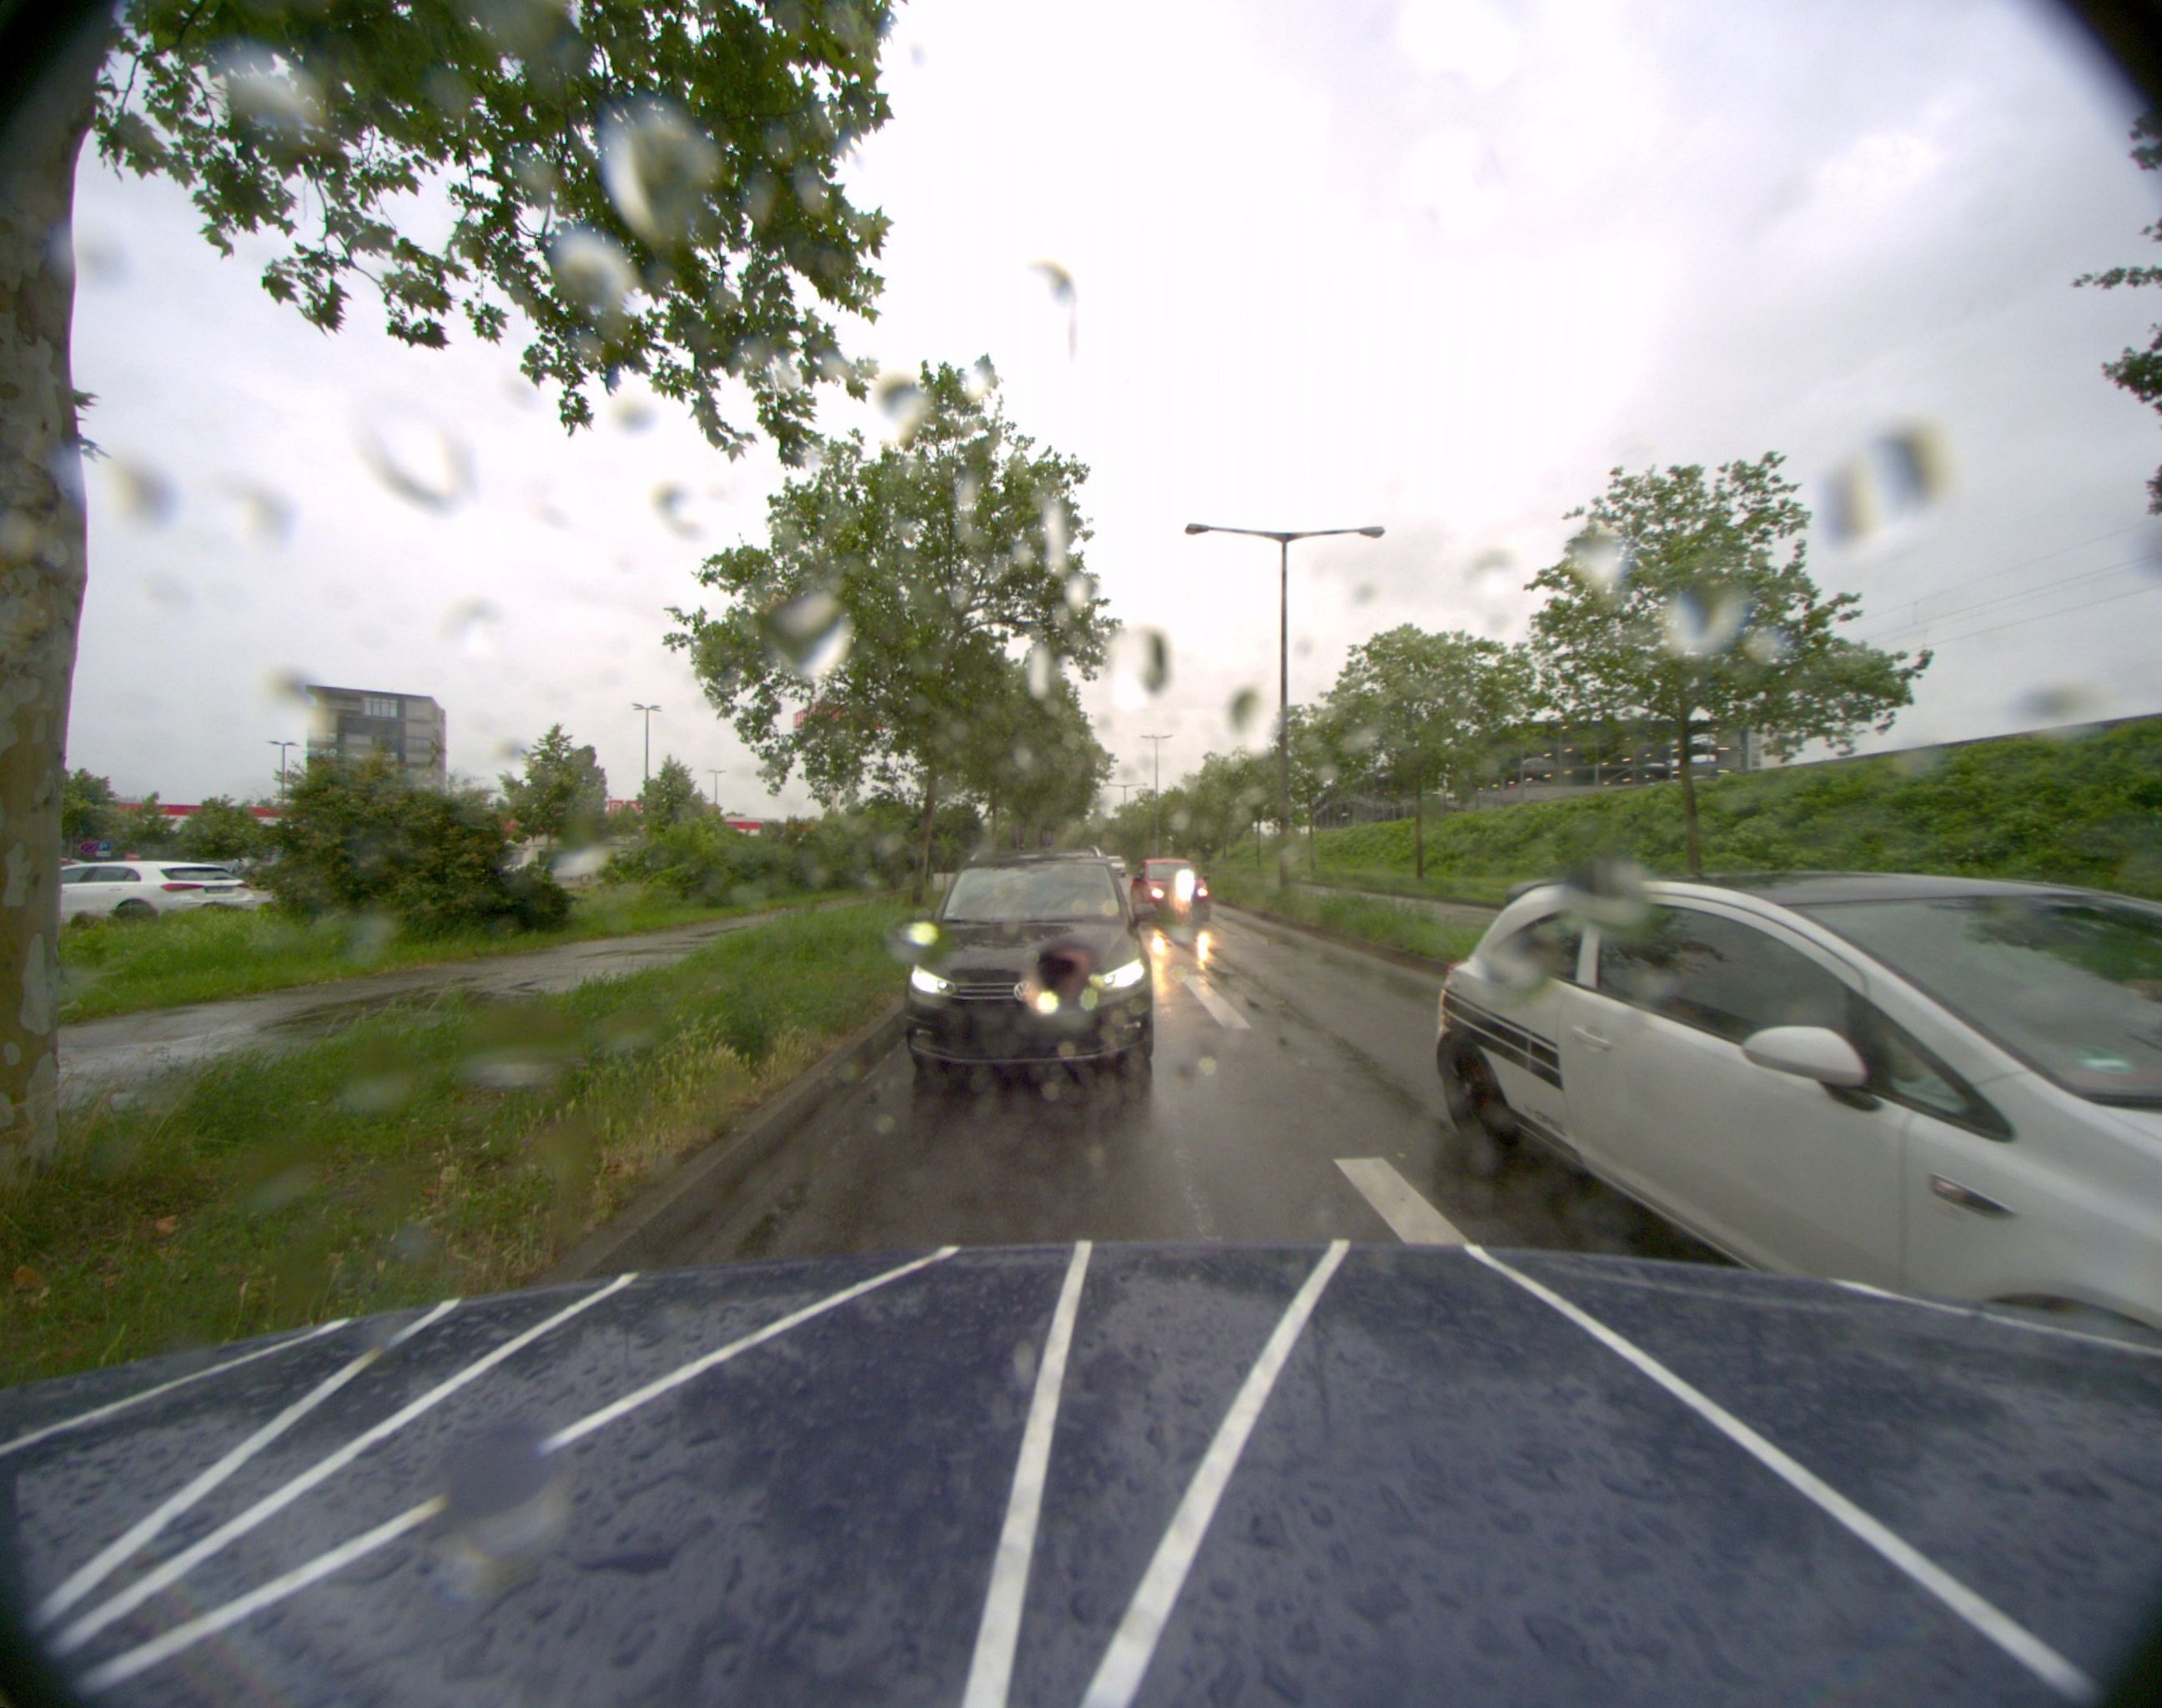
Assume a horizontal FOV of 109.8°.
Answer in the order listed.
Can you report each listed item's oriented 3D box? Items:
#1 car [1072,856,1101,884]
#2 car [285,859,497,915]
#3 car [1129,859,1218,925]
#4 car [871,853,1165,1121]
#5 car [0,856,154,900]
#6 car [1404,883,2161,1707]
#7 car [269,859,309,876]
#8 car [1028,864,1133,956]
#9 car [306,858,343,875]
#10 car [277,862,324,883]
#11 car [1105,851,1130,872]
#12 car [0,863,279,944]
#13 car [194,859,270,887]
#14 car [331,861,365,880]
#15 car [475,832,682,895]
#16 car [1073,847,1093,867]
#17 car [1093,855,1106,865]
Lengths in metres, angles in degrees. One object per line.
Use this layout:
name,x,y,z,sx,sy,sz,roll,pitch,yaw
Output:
car,0.343,1.038,50.444,1.831,1.737,4.147,-2,0,0
car,-19.944,0.921,22.128,4.272,1.543,1.929,0,0,-4
car,2.296,0.911,19.888,1.724,1.456,4.092,-2,0,-1
car,-0.435,0.831,7.066,1.771,1.596,4.626,-2,0,-1
car,-45.425,1.040,34.391,4.007,1.718,1.886,-3,1,-38
car,2.740,0.878,2.387,1.683,1.368,4.010,-2,0,0
car,-80.578,1.331,77.330,2.006,1.667,4.262,0,0,-35
car,-0.012,0.973,14.890,1.724,1.456,4.092,-2,0,0
car,-78.467,1.232,78.862,2.006,1.667,4.262,0,0,-35
car,-67.282,1.597,65.600,2.006,1.667,4.262,0,0,-34
car,2.986,0.594,62.864,1.831,1.602,4.147,-2,0,0
car,-19.791,0.963,15.657,4.272,1.543,1.929,0,0,-4
car,-49.830,1.090,44.721,1.933,1.543,4.262,0,0,-33
car,-68.881,1.569,71.496,2.007,1.667,4.261,0,0,-40
car,-19.664,0.357,30.077,6.425,2.349,2.390,0,1,-8
car,0.218,0.302,82.306,1.998,2.002,5.131,-2,1,0
car,2.895,0.932,116.929,1.715,1.494,3.999,-2,0,-2
